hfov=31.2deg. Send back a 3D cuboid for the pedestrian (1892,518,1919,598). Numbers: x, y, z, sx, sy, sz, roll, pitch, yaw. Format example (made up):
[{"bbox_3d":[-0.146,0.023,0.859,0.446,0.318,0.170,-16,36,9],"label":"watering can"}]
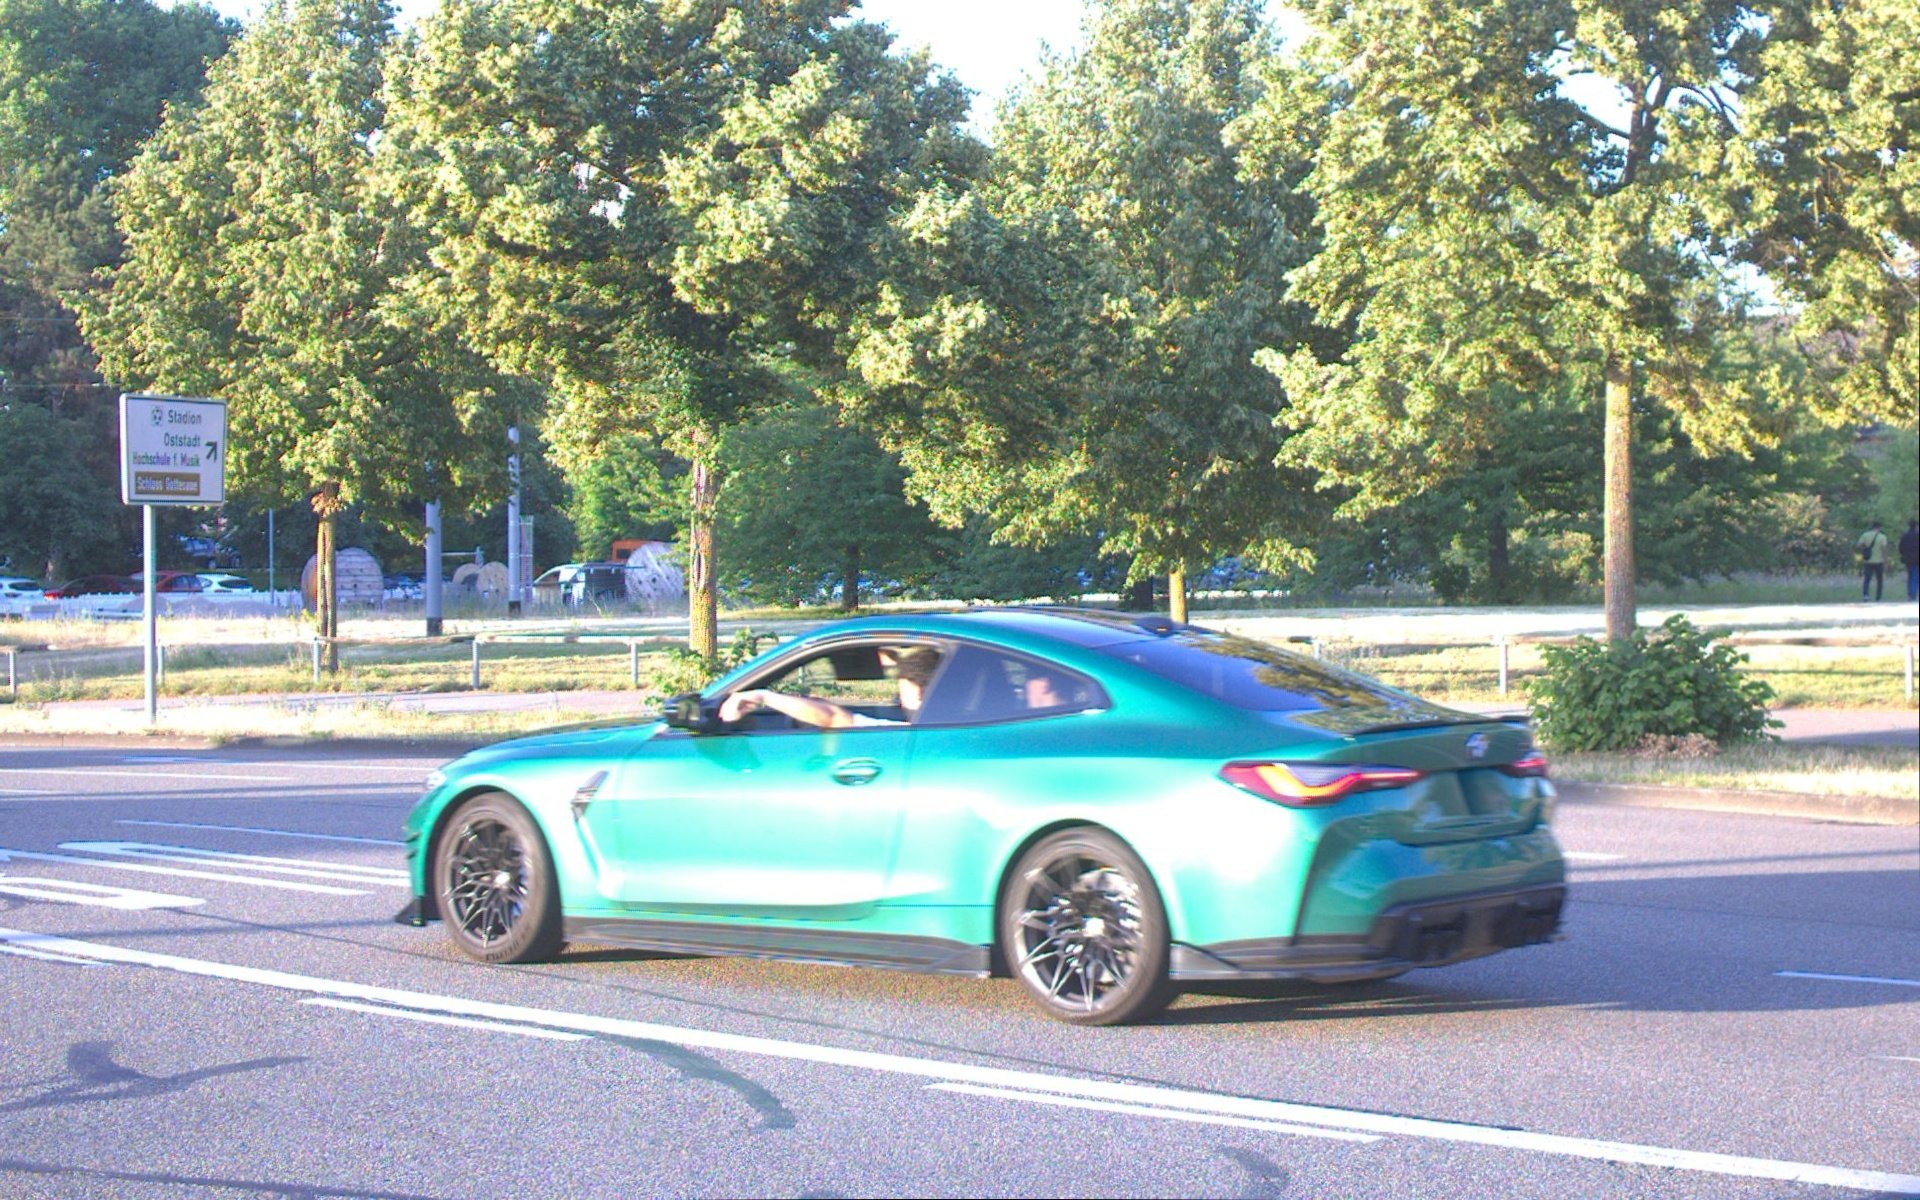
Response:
[{"bbox_3d":[19.632,-0.854,70.060,1.069,1.612,0.910,0,1,2],"label":"pedestrian"}]

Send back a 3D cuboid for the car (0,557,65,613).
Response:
[{"bbox_3d":[-35.237,-0.553,125.799,4.582,2.007,2.001,-1,1,-9],"label":"car"}]

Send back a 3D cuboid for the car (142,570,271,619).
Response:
[{"bbox_3d":[-25.375,-0.207,115.816,3.994,1.598,1.996,0,1,33],"label":"car"}]

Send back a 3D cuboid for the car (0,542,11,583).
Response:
[{"bbox_3d":[-42.417,-1.579,145.355,3.988,1.700,2.000,0,1,7],"label":"car"}]

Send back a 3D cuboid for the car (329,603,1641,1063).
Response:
[{"bbox_3d":[-0.033,0.732,12.991,4.730,1.366,1.996,0,1,38],"label":"car"}]

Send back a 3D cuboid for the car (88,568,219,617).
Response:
[{"bbox_3d":[-26.779,-0.263,114.086,3.994,1.598,1.996,0,1,33],"label":"car"}]

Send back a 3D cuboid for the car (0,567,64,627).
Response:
[{"bbox_3d":[-33.152,-0.095,117.665,4.582,2.007,2.001,-1,1,-9],"label":"car"}]

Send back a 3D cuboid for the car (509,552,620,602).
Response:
[{"bbox_3d":[-13.233,-0.778,114.875,1.734,1.612,3.998,-1,1,-41],"label":"car"}]

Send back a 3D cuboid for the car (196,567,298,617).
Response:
[{"bbox_3d":[-26.823,-0.323,129.295,1.994,1.746,4.597,-1,2,-37],"label":"car"}]

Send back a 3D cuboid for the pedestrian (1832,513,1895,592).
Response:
[{"bbox_3d":[18.465,-0.970,70.296,1.069,1.612,0.910,0,1,2],"label":"pedestrian"}]
